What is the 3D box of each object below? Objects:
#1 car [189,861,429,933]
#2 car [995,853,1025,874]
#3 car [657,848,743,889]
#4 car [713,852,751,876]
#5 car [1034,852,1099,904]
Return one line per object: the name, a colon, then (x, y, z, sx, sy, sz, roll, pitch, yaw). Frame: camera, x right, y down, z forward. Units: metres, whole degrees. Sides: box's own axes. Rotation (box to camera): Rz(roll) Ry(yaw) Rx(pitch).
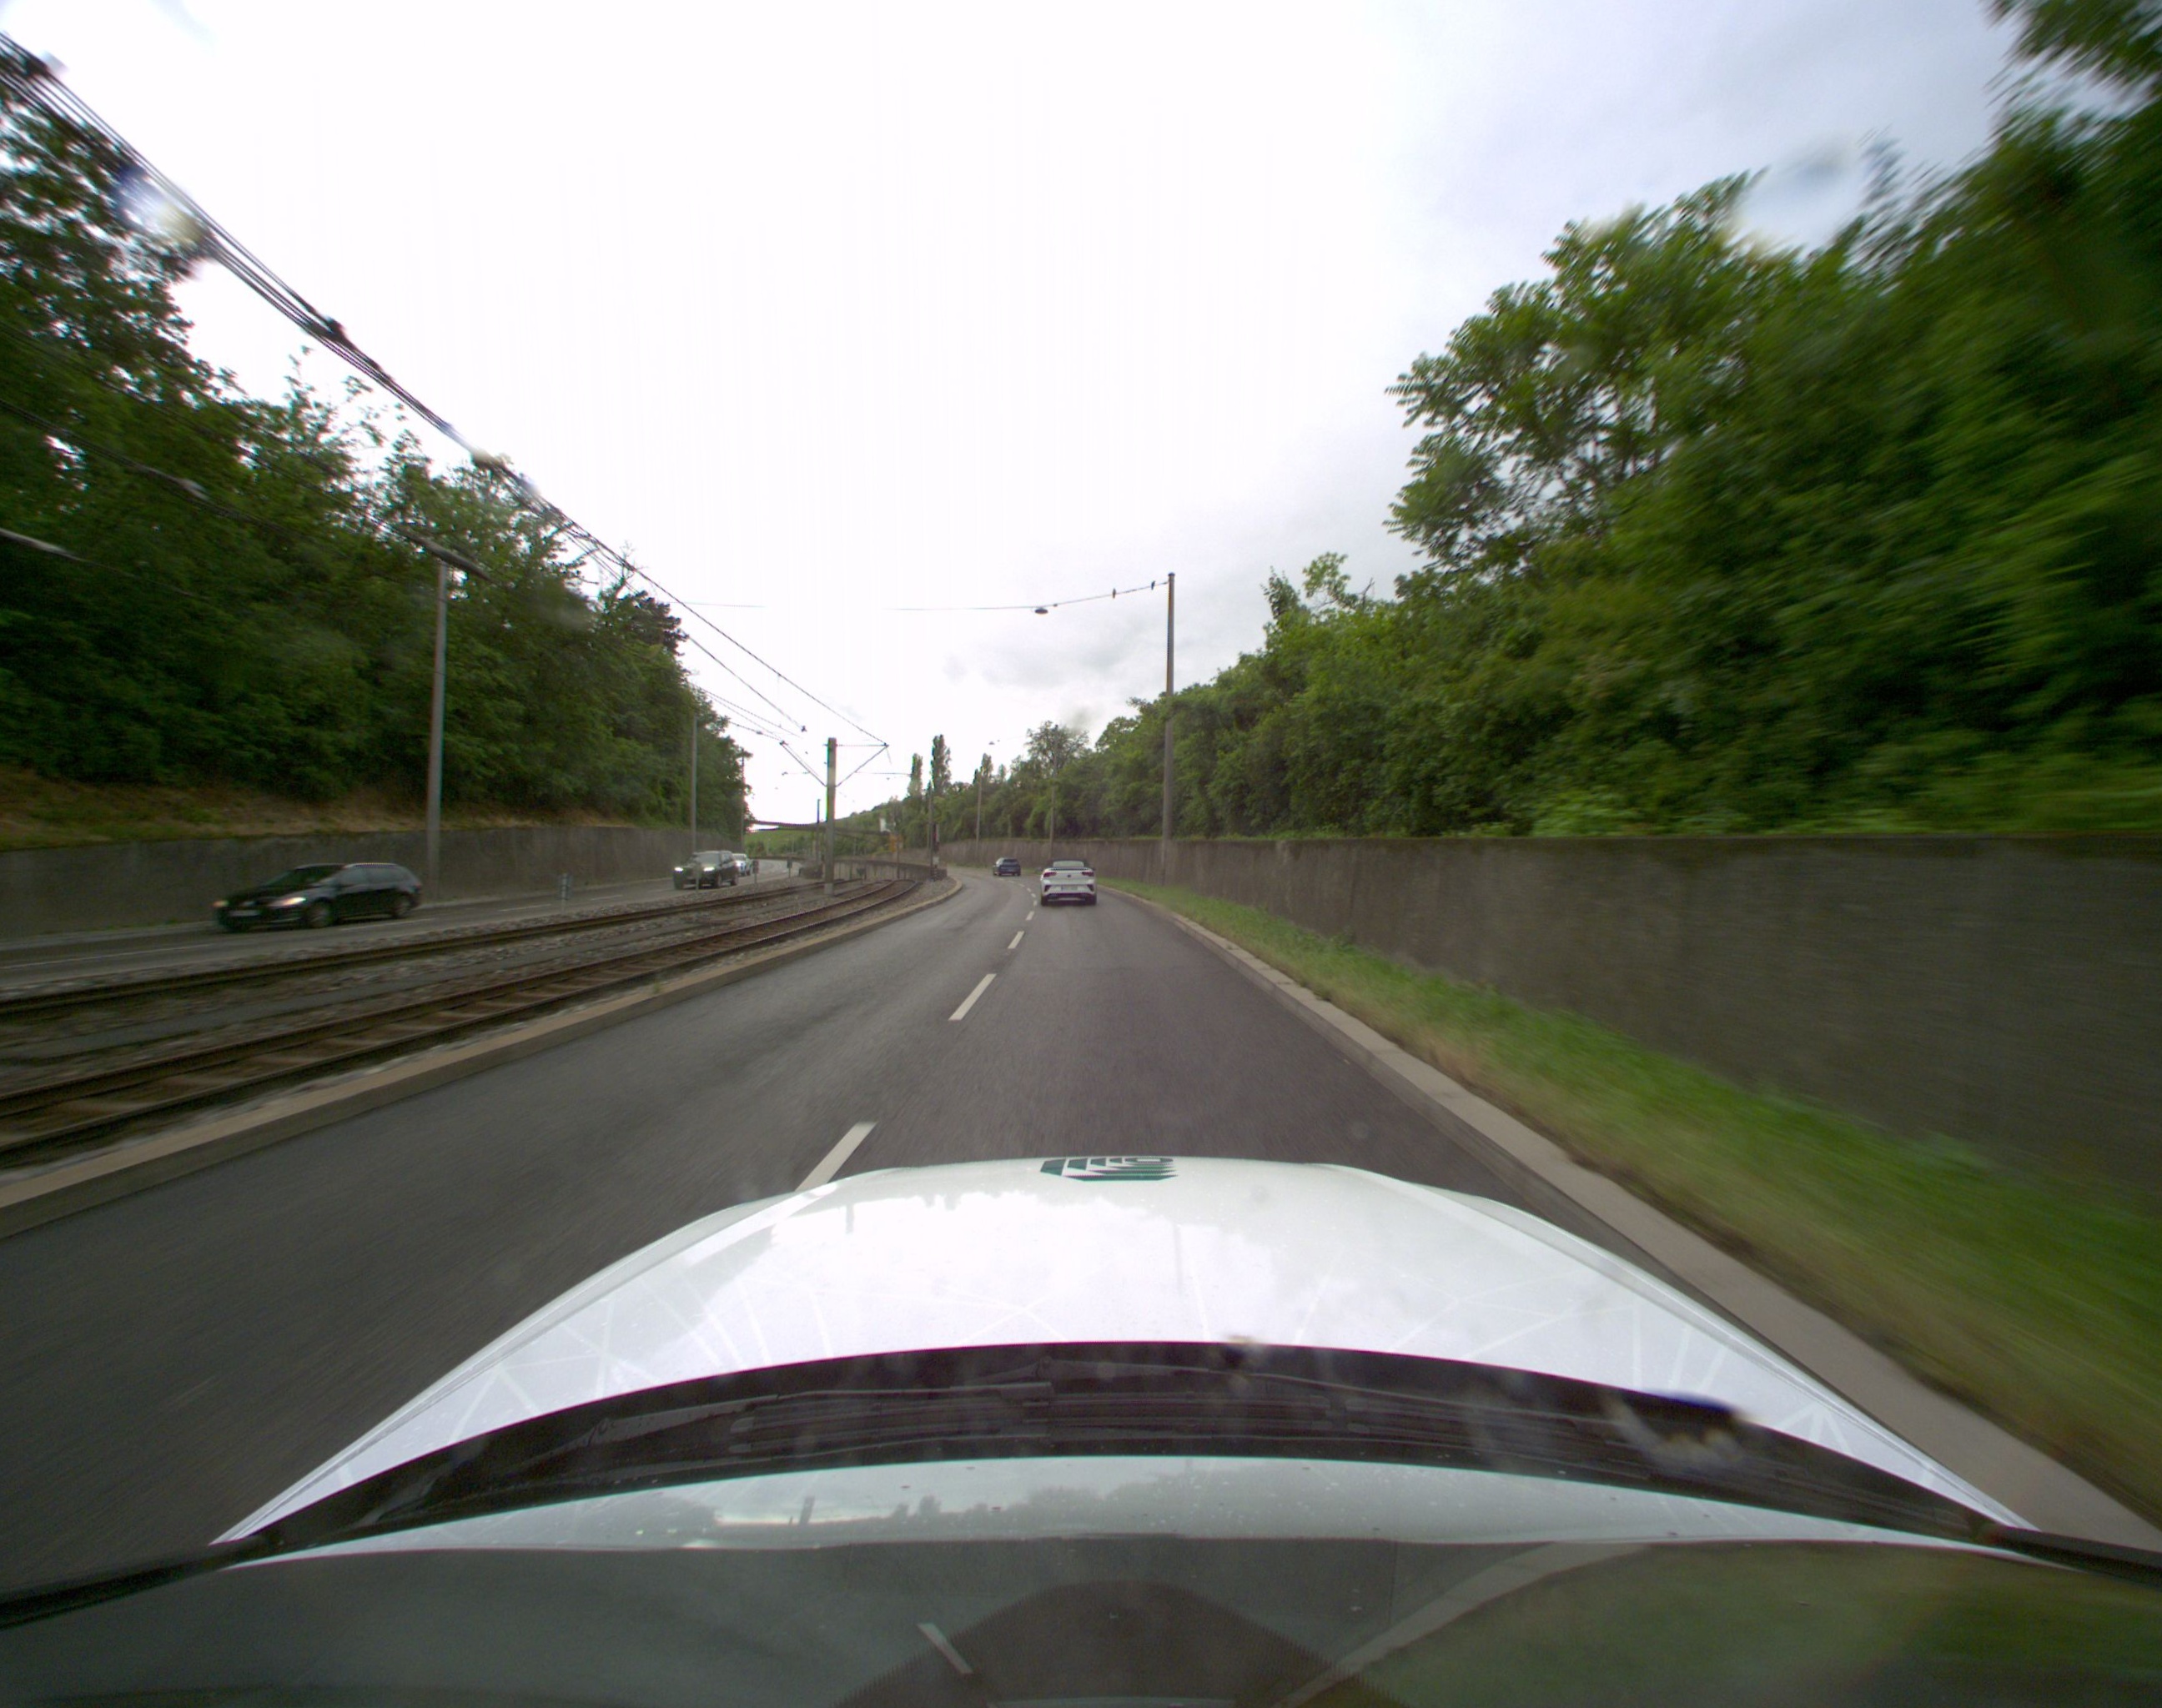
car: (-18.304, 0.942, 19.662, 1.822, 1.471, 4.405, -2, 0, -5)
car: (-5.678, 0.742, 65.067, 1.927, 1.599, 4.045, 0, 0, -12)
car: (-18.311, 0.663, 39.478, 2.231, 1.831, 5.125, -1, 0, -7)
car: (-25.301, 0.711, 59.173, 1.938, 1.683, 4.385, 0, 0, -15)
car: (-0.525, 0.737, 27.084, 1.991, 1.578, 4.121, 0, 0, -2)
